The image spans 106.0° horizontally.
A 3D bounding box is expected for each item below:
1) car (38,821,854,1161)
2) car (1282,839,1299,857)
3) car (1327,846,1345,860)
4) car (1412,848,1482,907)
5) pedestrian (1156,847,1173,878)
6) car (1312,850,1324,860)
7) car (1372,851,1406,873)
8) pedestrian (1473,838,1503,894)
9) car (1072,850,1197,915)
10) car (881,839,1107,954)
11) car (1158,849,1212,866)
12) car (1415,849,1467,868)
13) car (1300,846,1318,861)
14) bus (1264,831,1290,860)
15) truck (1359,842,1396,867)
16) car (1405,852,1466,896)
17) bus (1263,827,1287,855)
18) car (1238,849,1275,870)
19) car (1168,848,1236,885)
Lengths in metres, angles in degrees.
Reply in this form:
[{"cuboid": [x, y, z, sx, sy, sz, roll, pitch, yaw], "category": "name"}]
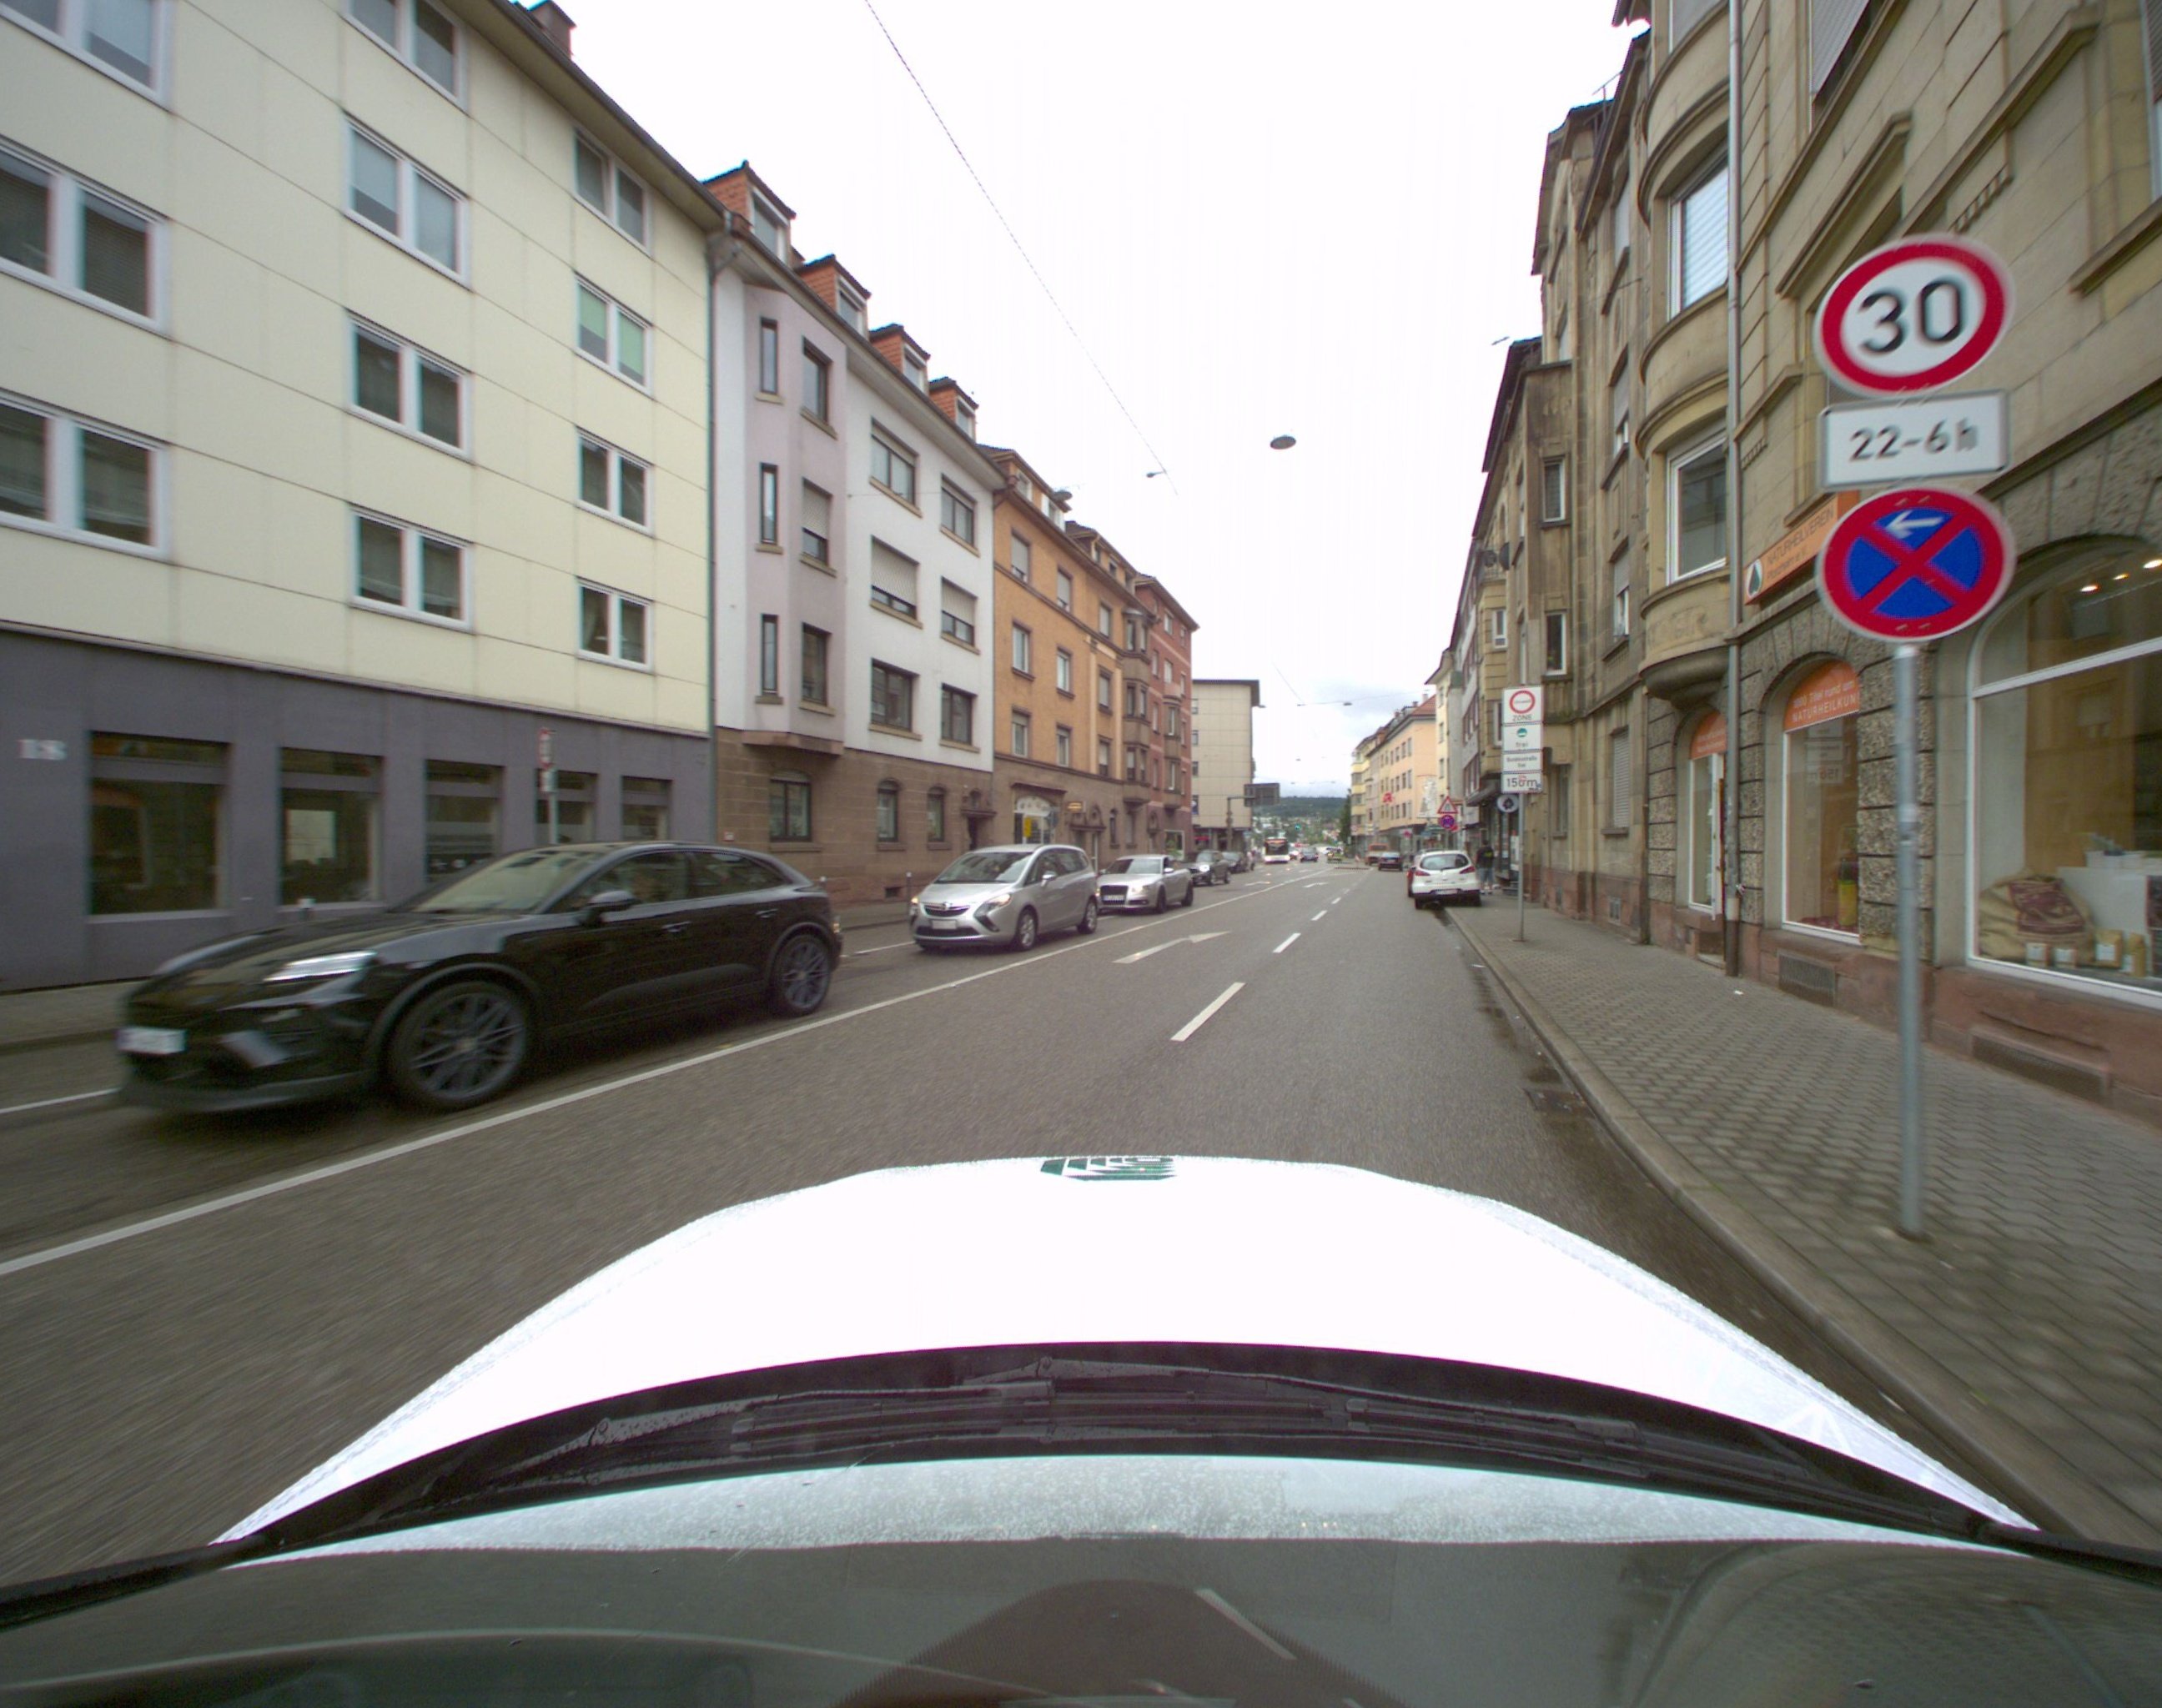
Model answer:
[{"cuboid": [-3.987, 0.656, 6.295, 1.926, 1.583, 4.628, -1, 0, 20], "category": "car"}, {"cuboid": [30.141, -0.847, 117.024, 2.070, 2.435, 6.379, -1, 0, 16], "category": "car"}, {"cuboid": [31.820, -0.088, 101.712, 1.742, 1.651, 4.014, -1, 0, 13], "category": "car"}, {"cuboid": [10.333, 0.608, 23.161, 1.633, 1.494, 4.472, -1, 0, 23], "category": "car"}, {"cuboid": [4.660, 0.479, 45.261, 0.837, 1.679, 0.855, 2, 0, 8], "category": "pedestrian"}, {"cuboid": [38.083, 0.169, 130.916, 1.742, 1.651, 4.014, -1, 0, 13], "category": "car"}, {"cuboid": [22.120, 0.573, 58.537, 1.742, 1.479, 4.014, -1, 0, 13], "category": "car"}, {"cuboid": [13.068, 0.386, 26.156, 0.738, 1.779, 0.799, -1, -1, 19], "category": "pedestrian"}, {"cuboid": [1.503, 0.659, 20.851, 1.926, 1.470, 4.583, -1, 0, 20], "category": "car"}, {"cuboid": [-1.207, 0.595, 13.664, 1.926, 1.583, 4.544, -1, 0, 20], "category": "car"}, {"cuboid": [9.630, 0.290, 75.554, 4.624, 1.533, 1.901, 0, -1, -8], "category": "car"}, {"cuboid": [30.475, 0.387, 69.072, 3.797, 1.574, 1.944, -1, -1, 15], "category": "car"}, {"cuboid": [25.752, -0.065, 92.036, 1.742, 1.651, 4.321, -1, 0, 12], "category": "car"}, {"cuboid": [22.160, -0.882, 92.464, 2.740, 3.188, 8.942, -1, 0, 12], "category": "bus"}, {"cuboid": [26.729, 0.082, 73.561, 2.383, 2.129, 5.333, -1, 0, 12], "category": "truck"}, {"cuboid": [12.268, 0.644, 28.381, 1.729, 1.369, 4.337, -1, 0, 21], "category": "car"}, {"cuboid": [24.137, -1.547, 101.434, 2.707, 3.188, 9.324, -1, 0, 12], "category": "bus"}, {"cuboid": [12.671, 0.369, 58.587, 1.834, 1.397, 4.818, 3, 1, 21], "category": "car"}, {"cuboid": [5.586, 0.549, 37.220, 1.963, 1.595, 4.362, -1, -1, 24], "category": "car"}]
